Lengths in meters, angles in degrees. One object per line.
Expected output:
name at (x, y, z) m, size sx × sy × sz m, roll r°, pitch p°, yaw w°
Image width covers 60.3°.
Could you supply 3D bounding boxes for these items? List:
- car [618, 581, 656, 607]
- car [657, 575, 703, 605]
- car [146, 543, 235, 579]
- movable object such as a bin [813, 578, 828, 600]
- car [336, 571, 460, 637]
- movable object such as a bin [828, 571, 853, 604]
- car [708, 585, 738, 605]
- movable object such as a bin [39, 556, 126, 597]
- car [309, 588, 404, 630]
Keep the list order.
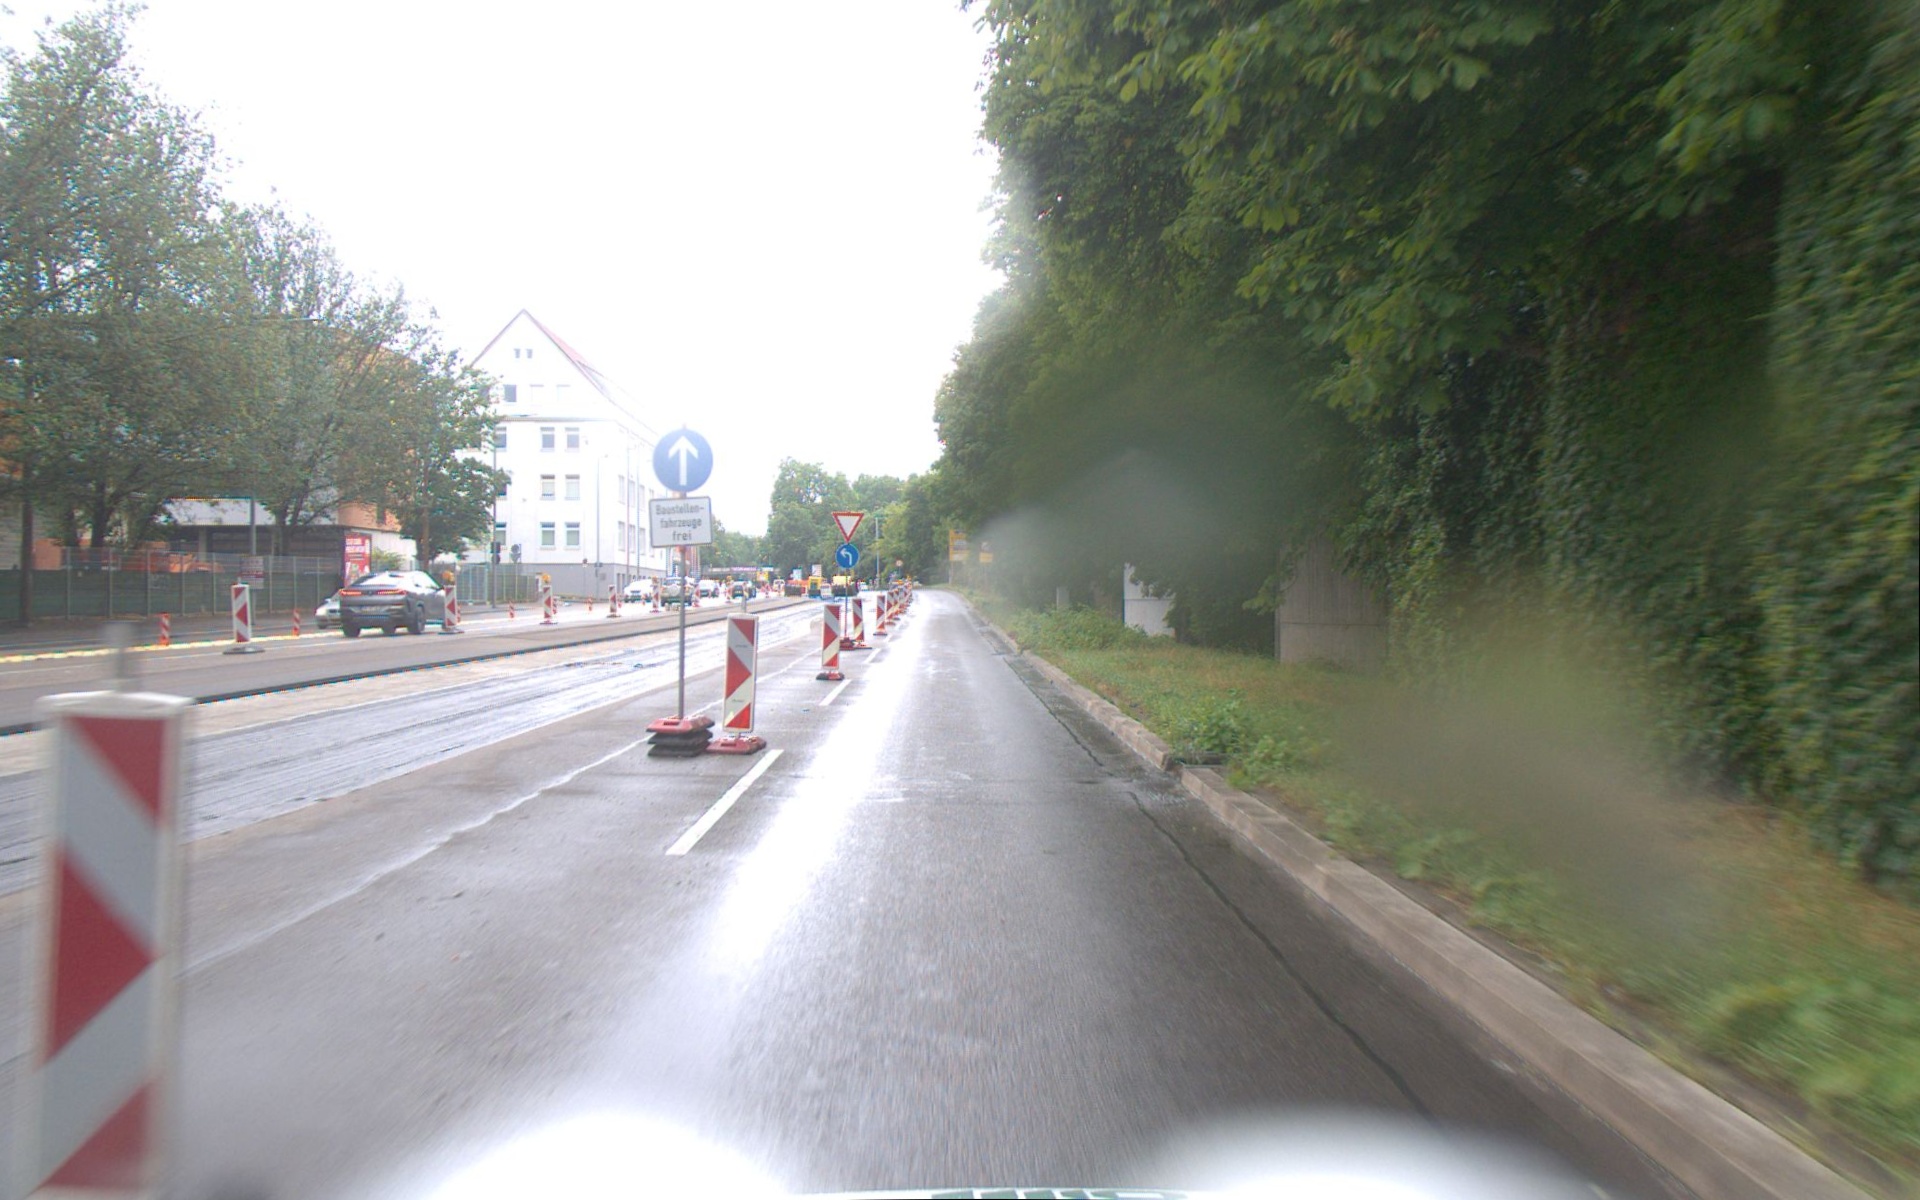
car at (-23.058, -0.433, 118.047) m, size 1.821 × 1.735 × 4.364 m, roll -2°, pitch 0°, yaw -1°
car at (-15.881, -0.562, 93.984) m, size 1.854 × 1.679 × 4.395 m, roll 0°, pitch 0°, yaw 0°
car at (-34.078, -1.692, 73.216) m, size 3.944 × 1.554 × 1.992 m, roll 0°, pitch 1°, yaw 37°
movable object such as a bin at (-11.174, -0.892, 132.315) m, size 1.061 × 1.673 × 2.438 m, roll 0°, pitch 1°, yaw -2°
car at (-15.038, 0.083, 44.489) m, size 1.854 × 1.679 × 4.395 m, roll 0°, pitch 0°, yaw 0°
movable object such as a bin at (-10.124, -1.084, 140.574) m, size 1.863 × 2.654 × 5.382 m, roll -1°, pitch 1°, yaw -1°
car at (-18.748, -0.394, 131.130) m, size 1.821 × 1.501 × 3.731 m, roll -2°, pitch 0°, yaw -1°
movable object such as a bin at (-33.807, -0.895, 63.667) m, size 3.952 × 1.554 × 1.743 m, roll 0°, pitch 1°, yaw 42°
car at (-21.059, 0.272, 57.875) m, size 1.633 × 1.338 × 4.454 m, roll -2°, pitch 0°, yaw 0°
